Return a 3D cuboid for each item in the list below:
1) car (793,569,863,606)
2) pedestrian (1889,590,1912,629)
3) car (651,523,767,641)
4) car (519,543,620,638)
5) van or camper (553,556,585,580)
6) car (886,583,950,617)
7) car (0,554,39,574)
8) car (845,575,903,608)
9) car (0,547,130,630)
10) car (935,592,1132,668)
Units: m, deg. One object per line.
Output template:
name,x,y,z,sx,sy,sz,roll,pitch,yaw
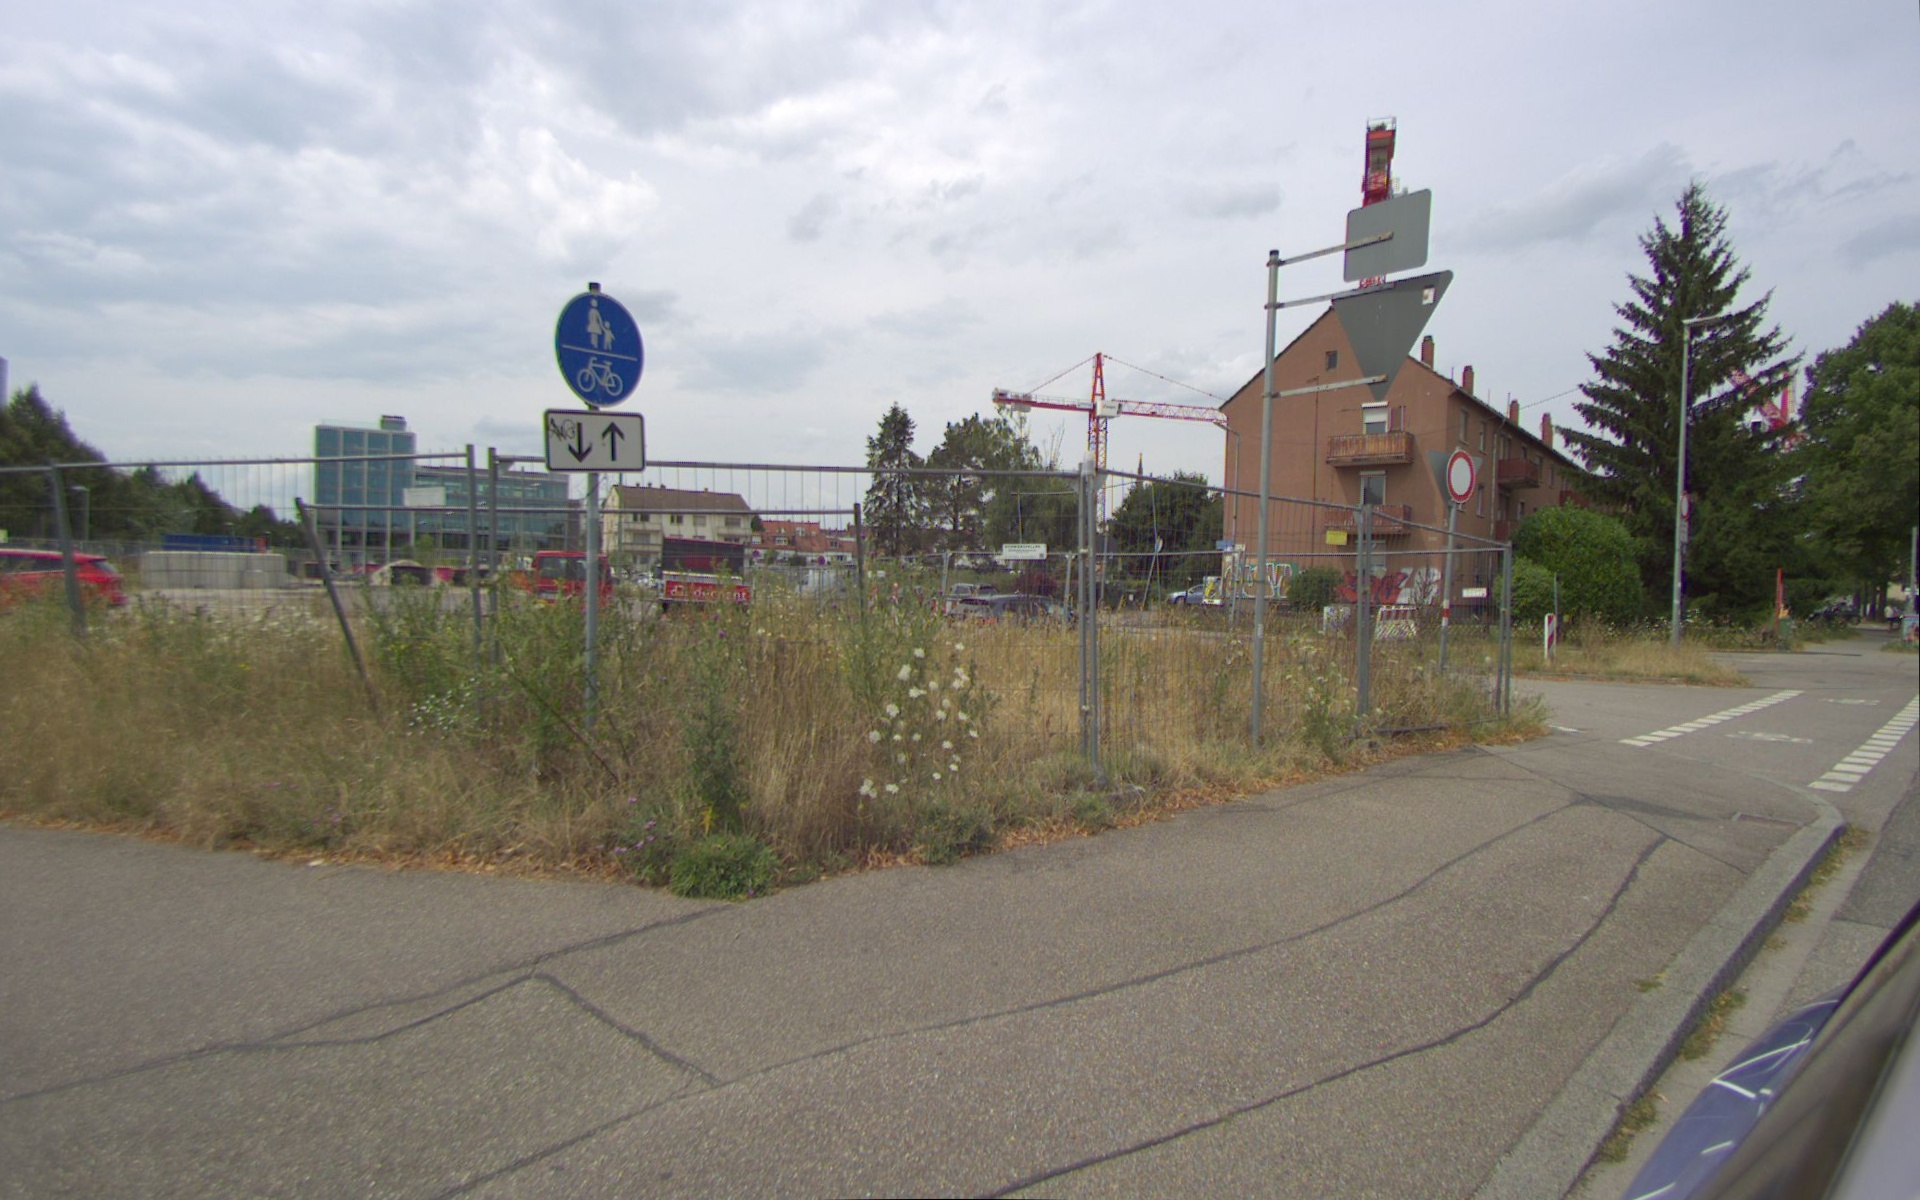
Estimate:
car,-8.135,-0.805,62.077,2.107,2.163,4.909,1,1,-36
pedestrian,51.043,0.515,54.920,0.852,2.039,0.721,2,0,41
car,-6.260,-0.442,24.587,2.269,2.442,6.557,1,1,-18
car,-9.155,-0.247,24.025,1.896,1.934,4.999,4,0,-19
van or camper,-46.064,-3.718,119.208,2.307,2.721,5.247,1,1,-34
car,-2.243,-0.020,53.041,1.765,1.622,4.020,1,1,-28
car,-81.654,-3.083,87.547,1.960,1.638,4.757,1,1,-31
car,-4.913,-0.519,57.393,1.820,1.771,4.019,1,1,-29
car,-19.905,-0.257,20.203,5.043,1.624,1.789,1,1,-37
car,1.672,0.609,22.369,4.179,1.492,1.767,1,1,-37
